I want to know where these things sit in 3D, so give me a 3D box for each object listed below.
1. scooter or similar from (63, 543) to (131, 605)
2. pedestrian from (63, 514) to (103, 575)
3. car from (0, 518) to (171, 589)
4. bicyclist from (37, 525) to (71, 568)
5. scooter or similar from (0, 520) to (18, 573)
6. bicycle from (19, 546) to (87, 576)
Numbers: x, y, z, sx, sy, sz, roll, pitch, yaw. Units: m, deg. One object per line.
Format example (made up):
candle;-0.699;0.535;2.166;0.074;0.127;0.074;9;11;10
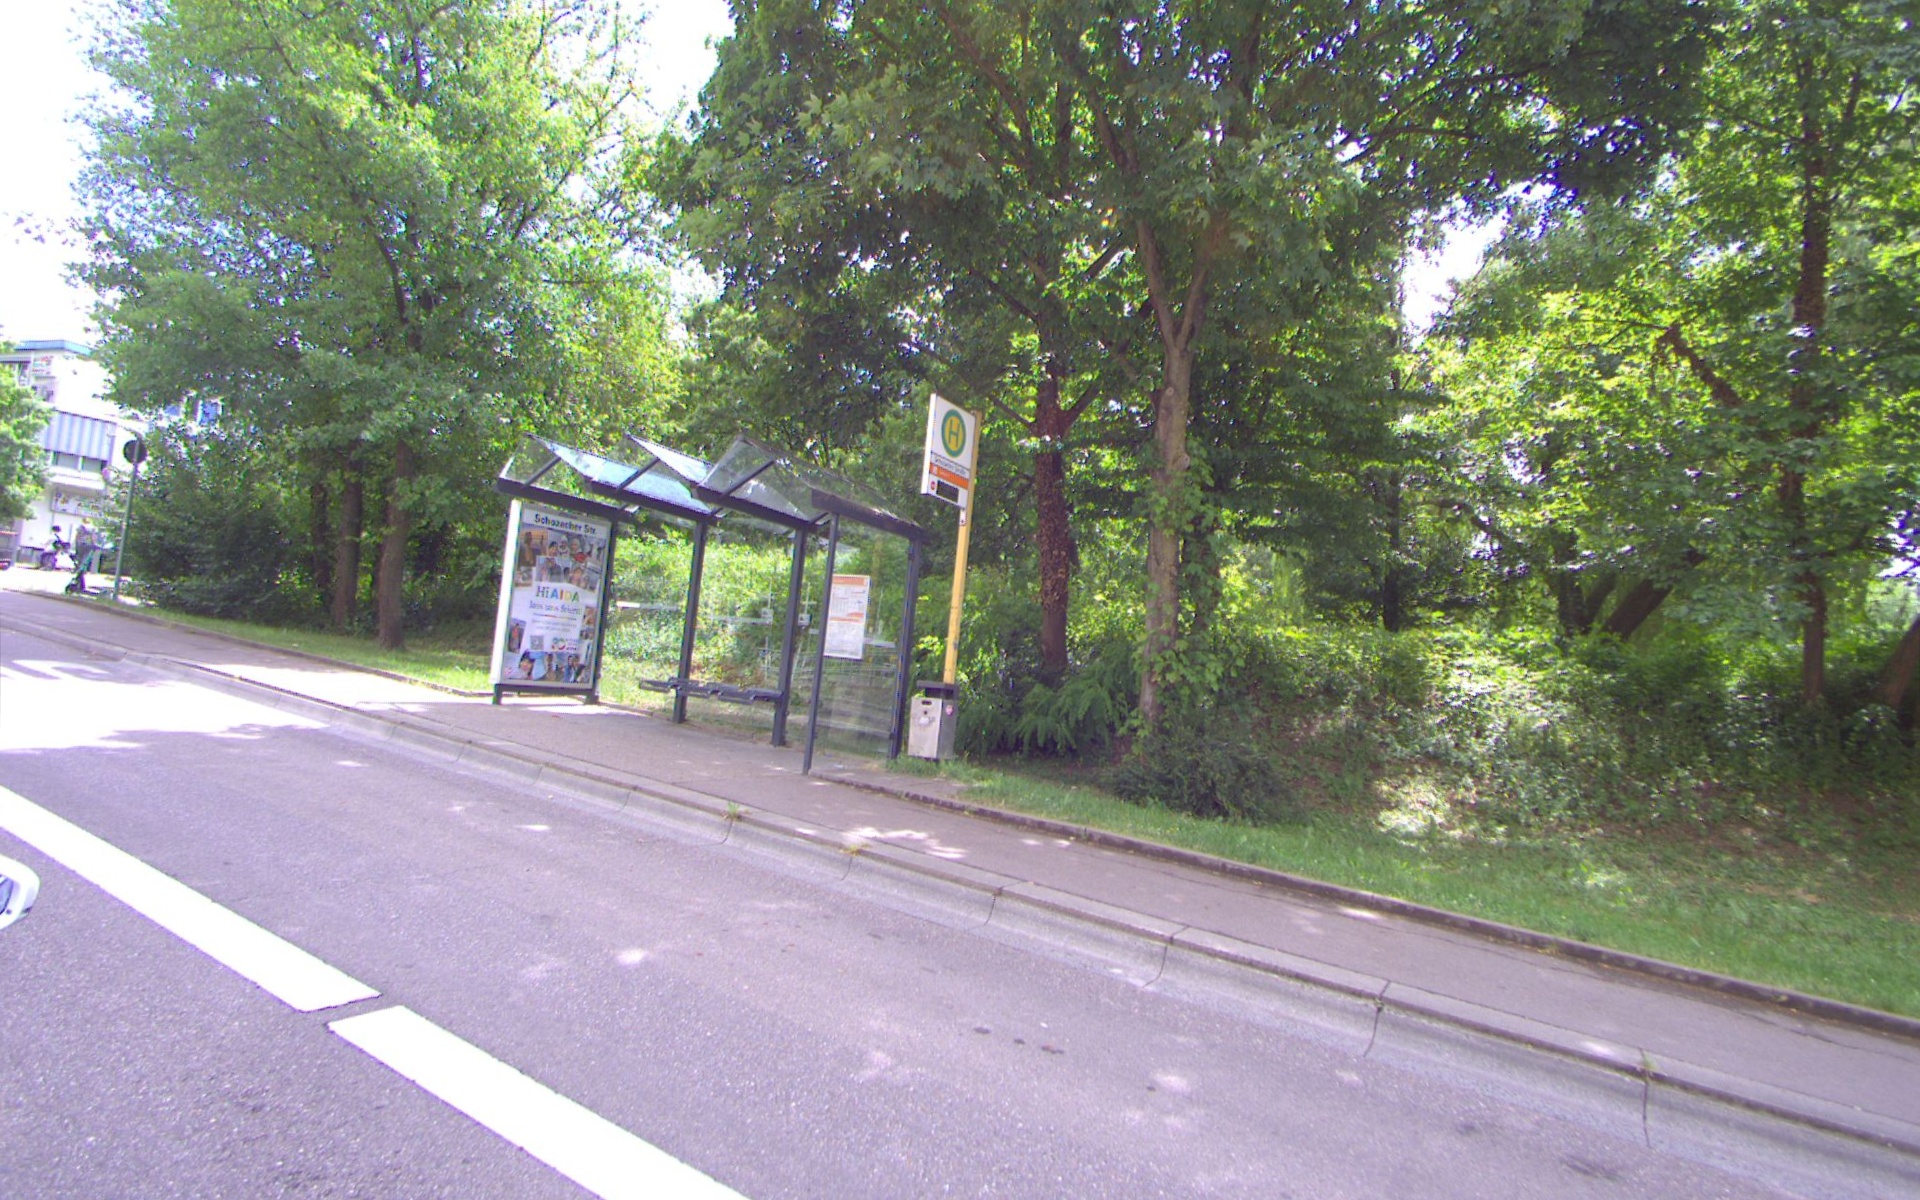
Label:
scooter or similar;-19.979;-0.598;23.297;0.447;1.242;0.893;6;-6;32
pedestrian;-26.227;-1.647;30.089;0.653;1.733;0.458;8;-1;-32
car;-33.815;-1.749;38.968;1.964;2.037;4.550;7;-2;24
bicyclist;-26.352;-1.558;29.261;0.392;1.170;0.503;7;-1;11
scooter or similar;-24.713;-1.434;25.381;0.546;1.286;1.153;6;-3;34
bicycle;-26.360;-1.132;29.244;1.560;0.616;0.535;7;-3;8
